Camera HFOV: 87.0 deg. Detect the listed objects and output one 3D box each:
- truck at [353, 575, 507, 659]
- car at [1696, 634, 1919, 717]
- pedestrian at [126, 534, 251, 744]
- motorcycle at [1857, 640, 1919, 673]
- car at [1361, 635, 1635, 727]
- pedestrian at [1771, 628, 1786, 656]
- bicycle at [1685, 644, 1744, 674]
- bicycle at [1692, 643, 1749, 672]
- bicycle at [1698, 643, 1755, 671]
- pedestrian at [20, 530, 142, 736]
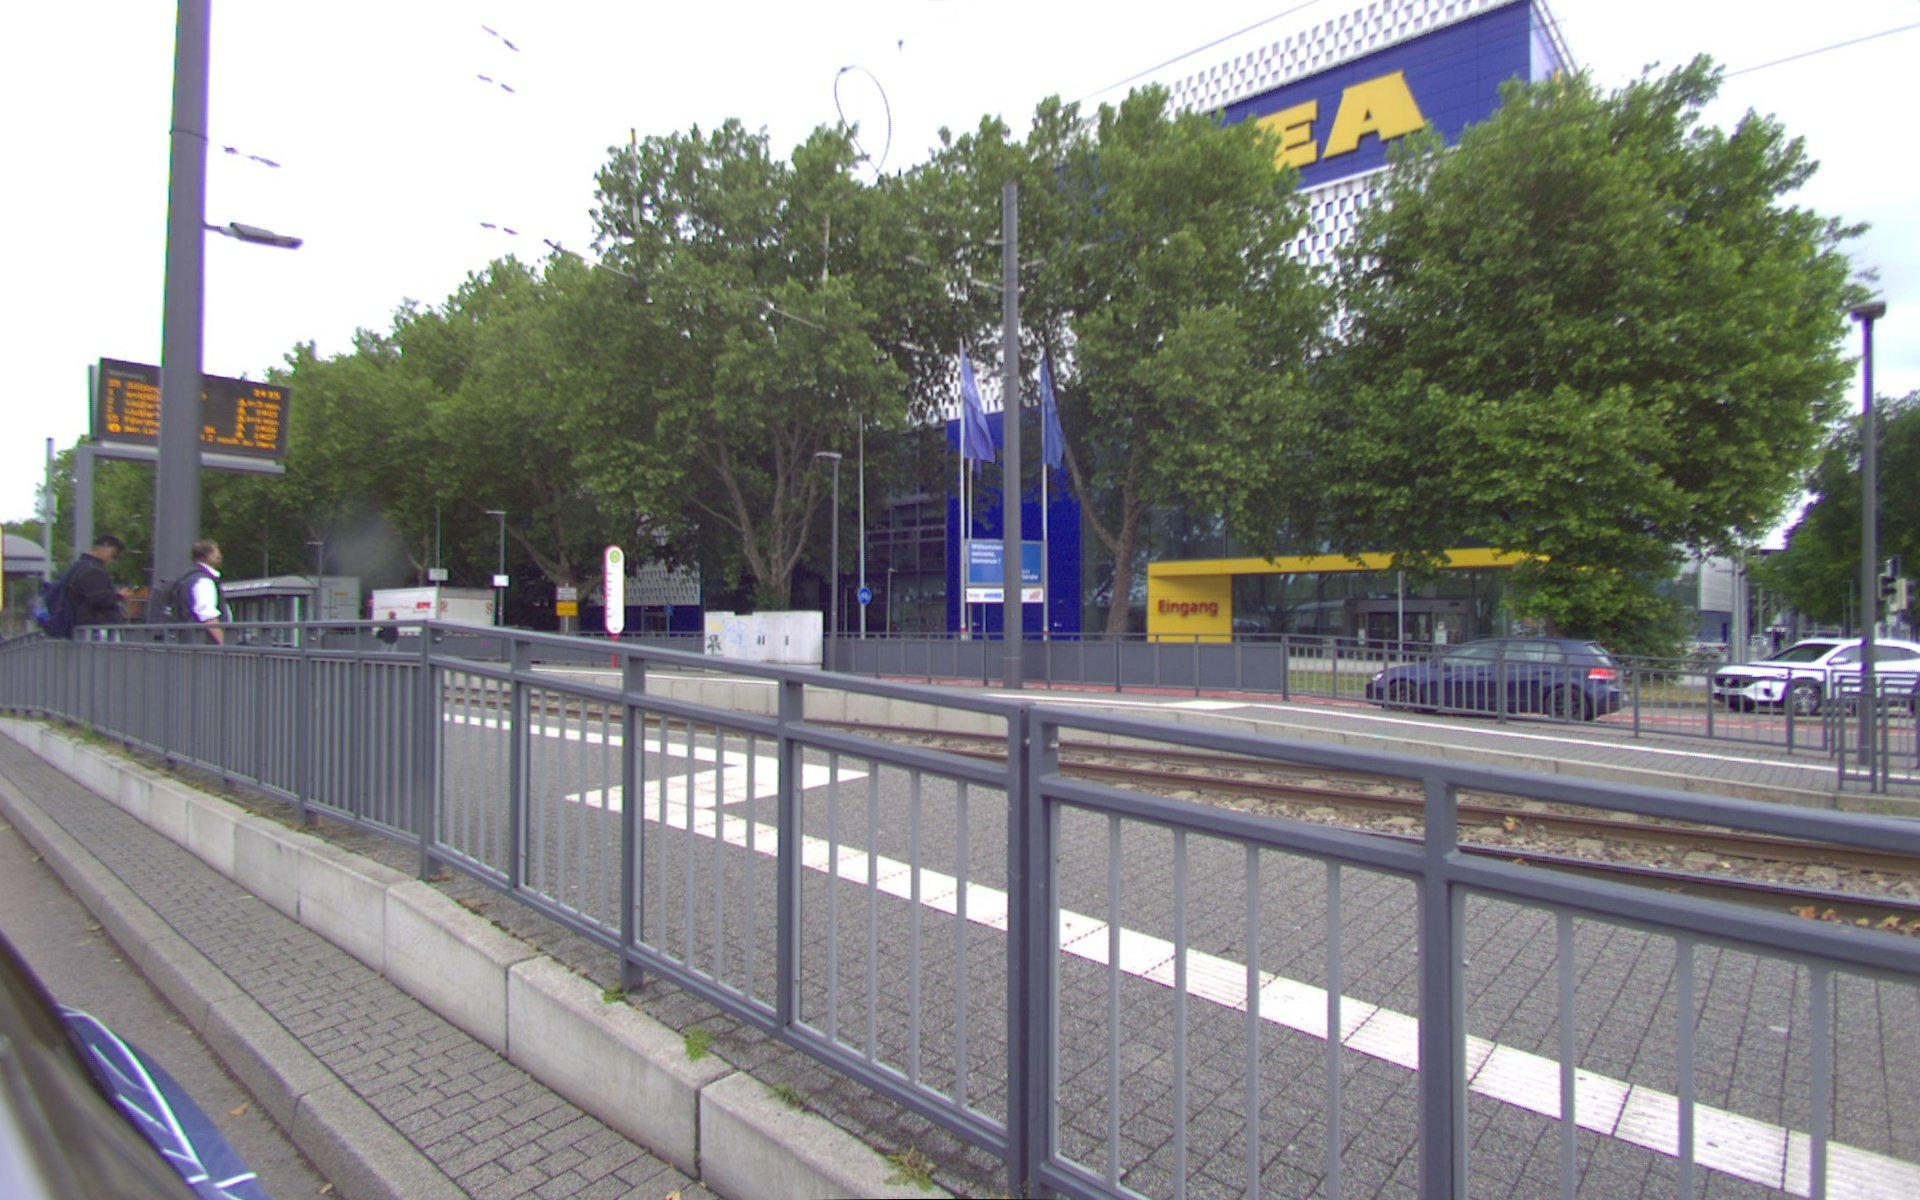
[{"bbox_3d":[-26.158,0.939,49.632,9.892,3.691,3.217,-2,-4,41],"label":"truck"},{"bbox_3d":[18.445,1.585,21.377,4.349,1.598,1.893,1,-3,1],"label":"car"},{"bbox_3d":[-6.144,0.290,8.062,0.633,1.571,0.701,-1,0,45],"label":"pedestrian"},{"bbox_3d":[41.902,2.530,45.282,2.491,1.365,0.791,2,0,31],"label":"motorcycle"},{"bbox_3d":[9.398,1.355,17.867,3.998,1.429,1.703,-1,-4,42],"label":"car"},{"bbox_3d":[51.822,2.669,64.064,0.679,1.759,0.797,0,-1,43],"label":"pedestrian"},{"bbox_3d":[33.069,2.569,44.396,2.022,1.165,0.585,1,-1,42],"label":"bicycle"},{"bbox_3d":[34.445,2.599,45.853,2.022,1.165,0.585,1,-1,42],"label":"bicycle"},{"bbox_3d":[35.700,2.654,47.150,2.015,1.165,0.587,2,-1,31],"label":"bicycle"},{"bbox_3d":[-7.894,0.281,9.093,0.587,1.755,0.776,-1,0,45],"label":"pedestrian"}]
